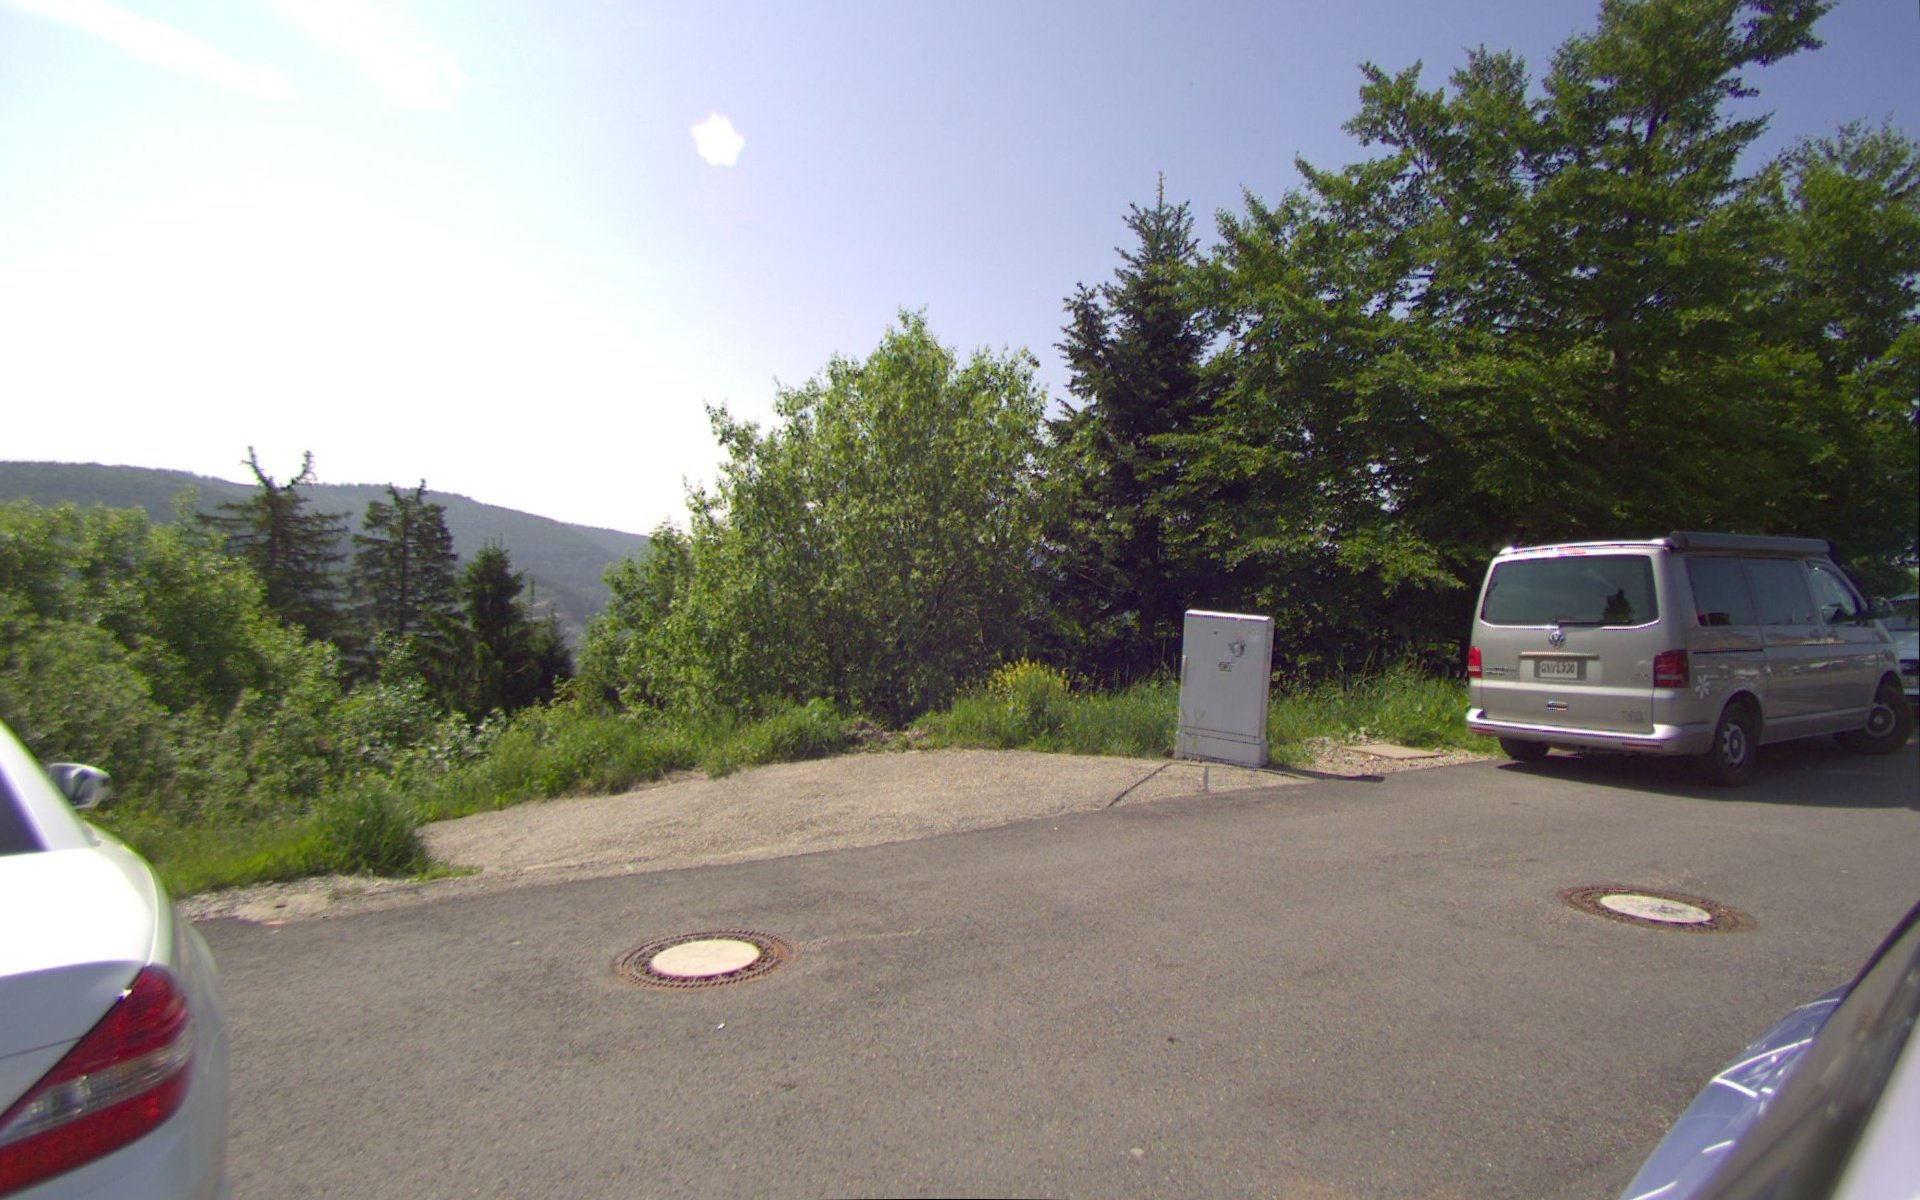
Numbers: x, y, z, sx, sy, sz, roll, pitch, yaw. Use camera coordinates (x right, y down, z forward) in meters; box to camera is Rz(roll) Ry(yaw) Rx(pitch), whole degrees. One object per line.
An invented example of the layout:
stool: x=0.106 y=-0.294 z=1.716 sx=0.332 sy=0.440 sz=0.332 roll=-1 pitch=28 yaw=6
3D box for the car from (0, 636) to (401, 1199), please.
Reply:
car: x=-3.121 y=0.789 z=2.519 sx=4.395 sy=1.312 sz=1.729 roll=-1 pitch=-2 yaw=43

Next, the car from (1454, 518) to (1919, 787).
car: x=6.844 y=0.395 z=9.313 sx=4.516 sy=1.960 sz=1.865 roll=0 pitch=-1 yaw=-29

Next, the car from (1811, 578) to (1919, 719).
car: x=12.301 y=0.530 z=12.344 sx=3.922 sy=1.567 sz=1.877 roll=0 pitch=-1 yaw=-33
